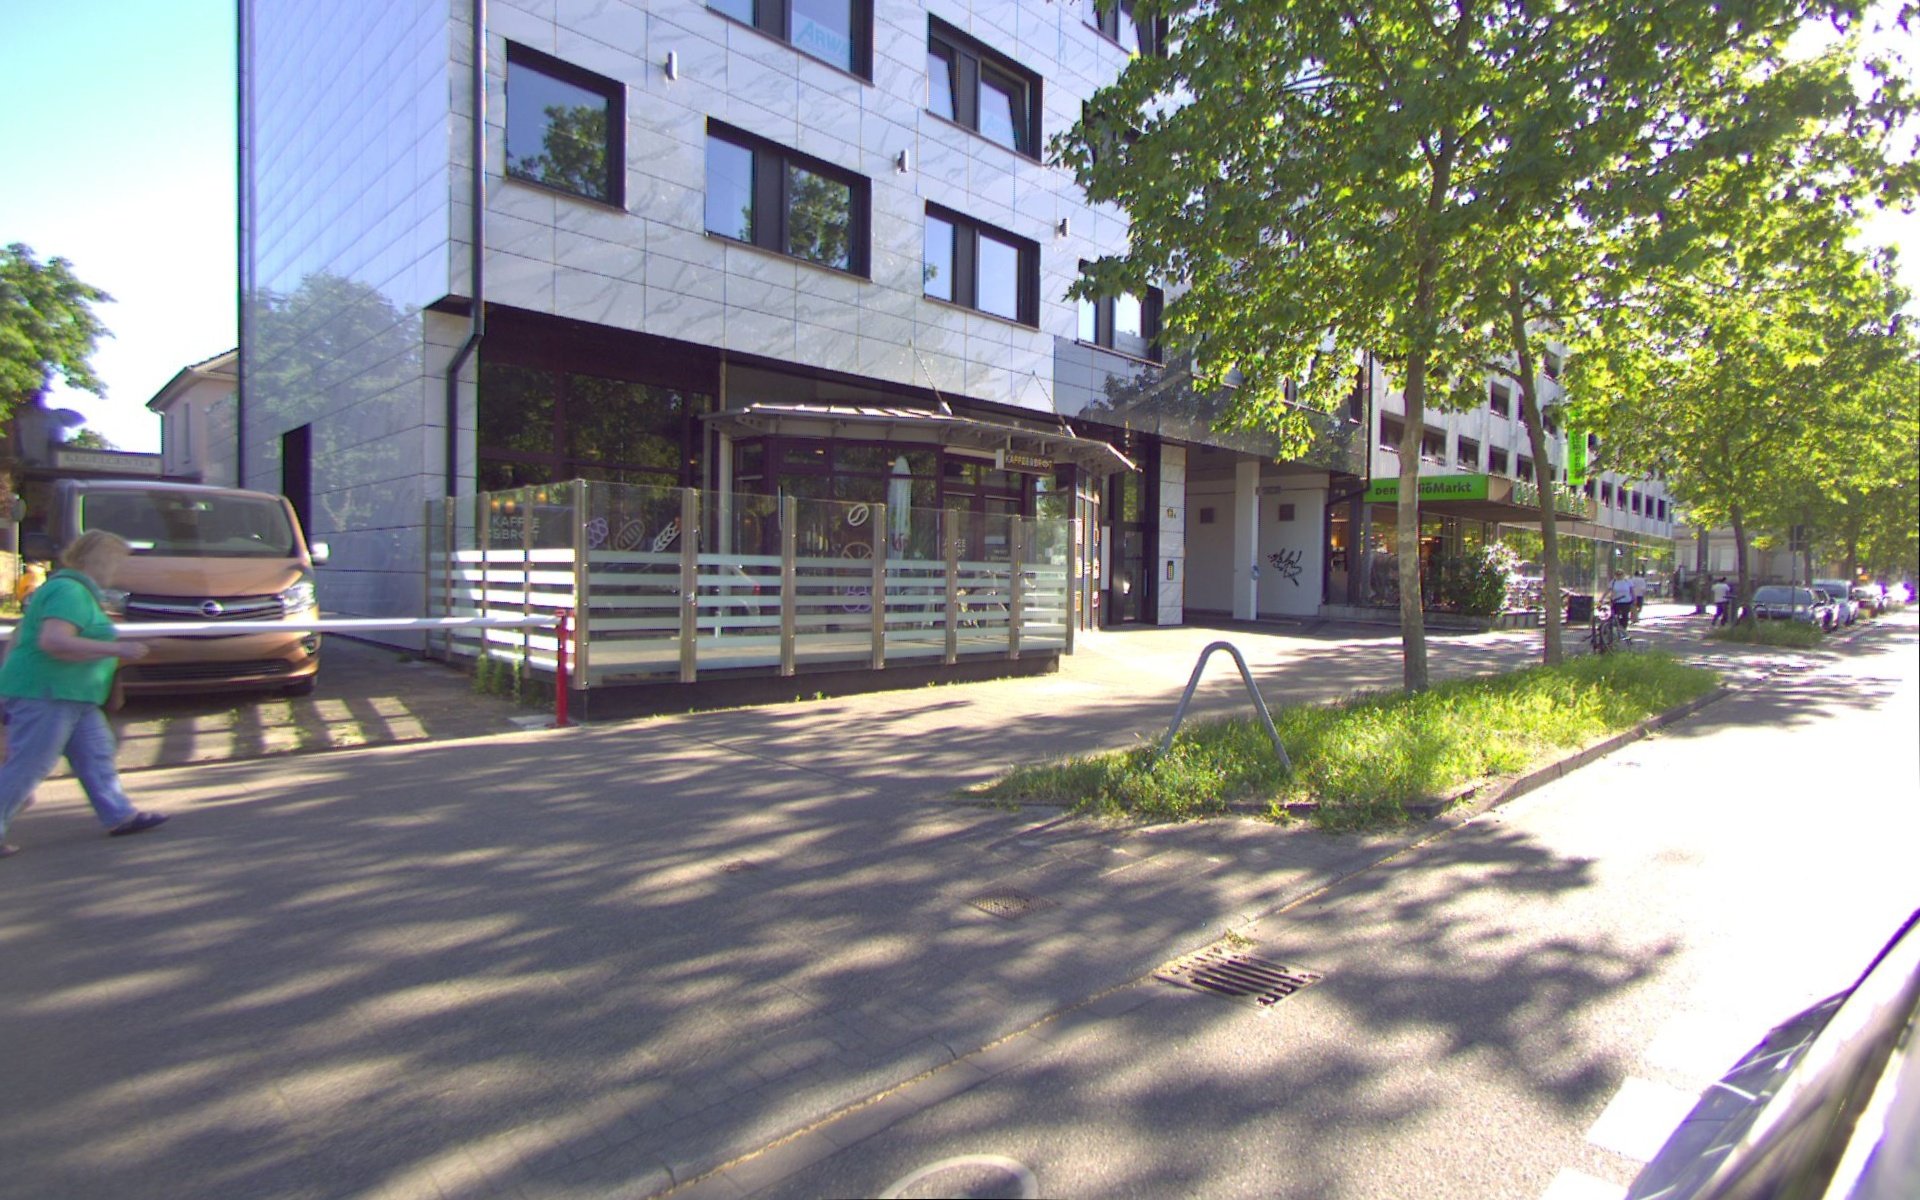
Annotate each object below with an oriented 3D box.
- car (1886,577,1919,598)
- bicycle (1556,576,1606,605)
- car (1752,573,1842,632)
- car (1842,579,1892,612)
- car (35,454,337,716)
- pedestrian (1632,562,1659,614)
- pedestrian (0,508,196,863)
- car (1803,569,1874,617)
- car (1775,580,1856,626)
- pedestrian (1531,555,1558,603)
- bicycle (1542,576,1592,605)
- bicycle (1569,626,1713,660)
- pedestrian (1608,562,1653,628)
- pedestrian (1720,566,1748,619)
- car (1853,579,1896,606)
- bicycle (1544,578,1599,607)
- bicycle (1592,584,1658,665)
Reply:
[{"bbox_3d":[74.958,-0.998,80.476,1.835,1.584,4.205,1,1,45],"label":"car"},{"bbox_3d":[25.203,-0.398,41.121,0.573,1.068,1.710,2,3,-18],"label":"bicycle"},{"bbox_3d":[24.003,0.031,28.976,3.935,1.569,1.566,-1,2,-45],"label":"car"},{"bbox_3d":[45.948,-0.266,51.229,1.674,1.455,3.632,5,5,44],"label":"car"},{"bbox_3d":[-7.943,-0.305,10.173,1.881,2.008,4.904,-1,5,-44],"label":"car"},{"bbox_3d":[23.796,-0.433,35.121,0.560,1.766,0.864,3,2,45],"label":"pedestrian"},{"bbox_3d":[-4.463,0.362,4.991,0.726,1.594,0.831,1,2,7],"label":"pedestrian"},{"bbox_3d":[35.281,-0.307,40.621,4.321,1.814,1.766,-1,3,-45],"label":"car"},{"bbox_3d":[28.707,0.050,33.900,1.762,1.435,4.625,1,1,44],"label":"car"},{"bbox_3d":[22.469,-0.813,38.923,0.606,1.735,0.609,7,5,21],"label":"pedestrian"},{"bbox_3d":[24.429,-0.403,40.746,0.573,1.068,1.710,3,3,-18],"label":"bicycle"},{"bbox_3d":[10.470,0.650,15.570,1.366,0.357,1.610,-1,3,-44],"label":"bicycle"},{"bbox_3d":[17.138,-0.134,25.867,0.853,1.632,0.699,0,4,-43],"label":"pedestrian"},{"bbox_3d":[25.580,-0.256,33.456,0.560,1.725,1.035,3,2,45],"label":"pedestrian"},{"bbox_3d":[53.099,-0.462,58.732,1.627,1.459,3.867,4,3,45],"label":"car"},{"bbox_3d":[22.090,-0.284,36.600,0.573,0.927,1.656,4,2,-18],"label":"bicycle"},{"bbox_3d":[10.236,0.336,15.624,0.785,1.147,1.825,2,2,32],"label":"bicycle"}]
